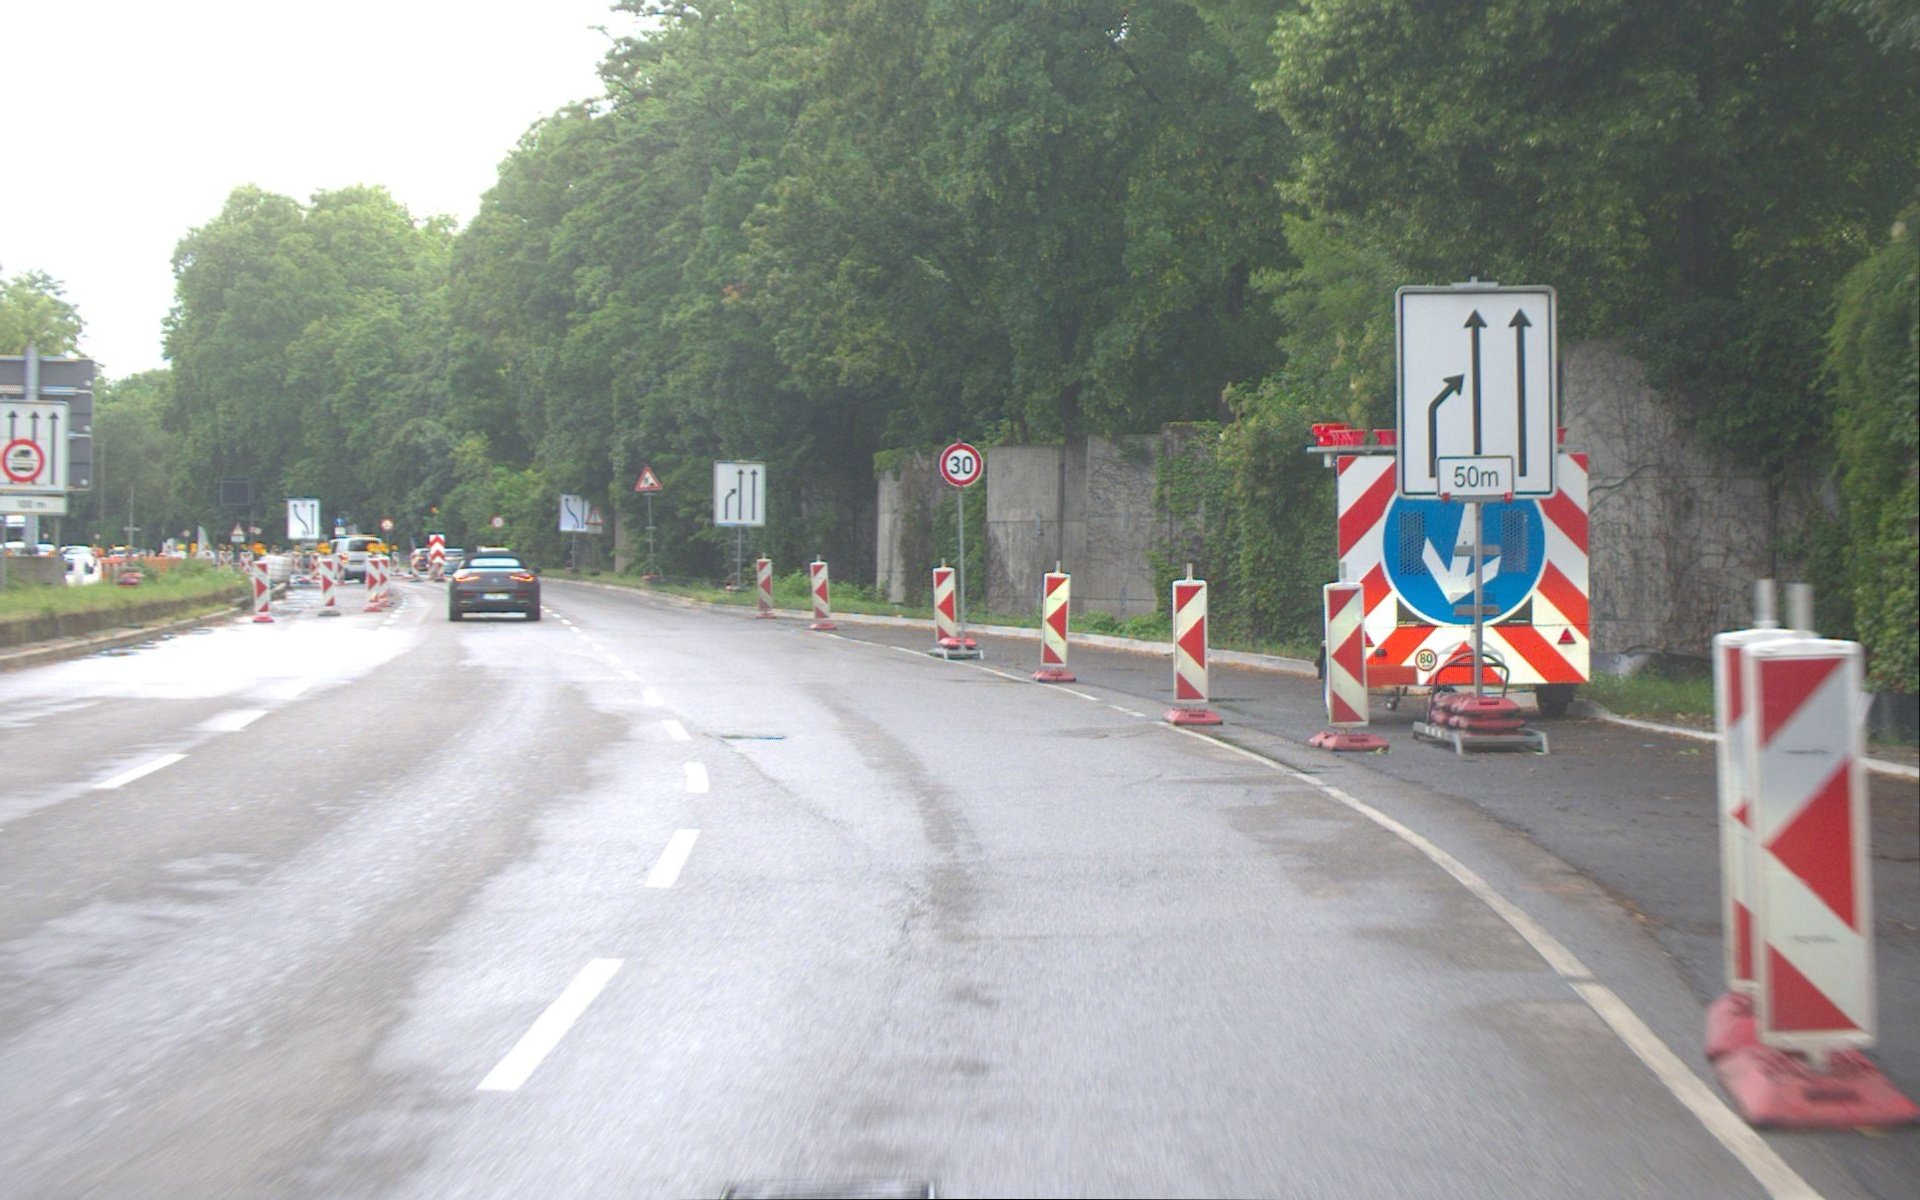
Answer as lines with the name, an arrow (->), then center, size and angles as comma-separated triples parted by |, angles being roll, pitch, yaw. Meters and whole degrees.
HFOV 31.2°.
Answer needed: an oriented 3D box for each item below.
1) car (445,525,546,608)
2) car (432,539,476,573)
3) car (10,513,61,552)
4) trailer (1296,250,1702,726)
car -> -9.554, -0.706, 70.919 | 1.861, 1.486, 4.001 | 2, 3, -5
car -> -25.611, -2.232, 173.938 | 1.861, 1.486, 4.002 | 1, 3, -13
car -> -43.505, -3.173, 161.837 | 1.913, 1.775, 4.835 | 1, 1, -10
trailer -> 4.367, -0.884, 28.957 | 2.307, 3.577, 5.960 | 0, 1, -2
